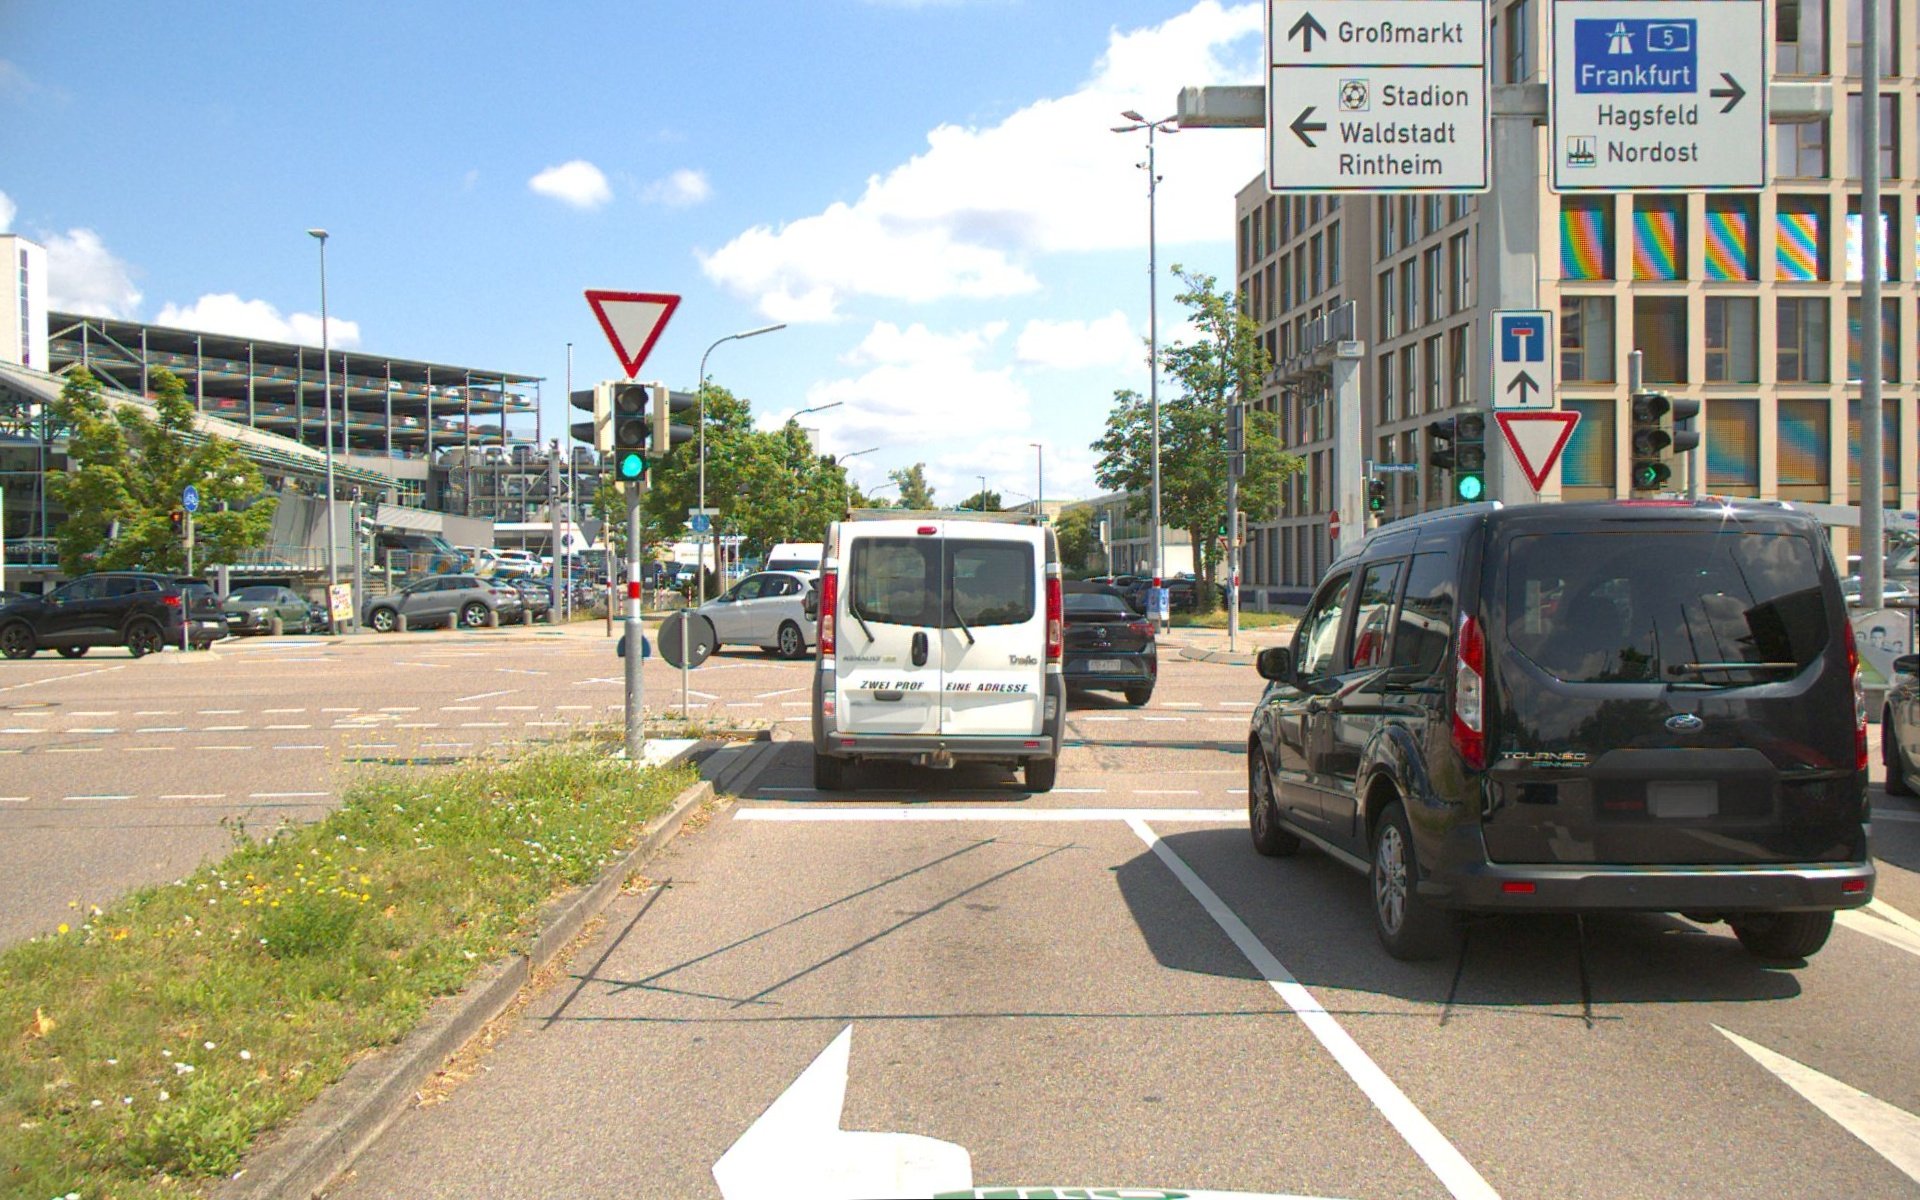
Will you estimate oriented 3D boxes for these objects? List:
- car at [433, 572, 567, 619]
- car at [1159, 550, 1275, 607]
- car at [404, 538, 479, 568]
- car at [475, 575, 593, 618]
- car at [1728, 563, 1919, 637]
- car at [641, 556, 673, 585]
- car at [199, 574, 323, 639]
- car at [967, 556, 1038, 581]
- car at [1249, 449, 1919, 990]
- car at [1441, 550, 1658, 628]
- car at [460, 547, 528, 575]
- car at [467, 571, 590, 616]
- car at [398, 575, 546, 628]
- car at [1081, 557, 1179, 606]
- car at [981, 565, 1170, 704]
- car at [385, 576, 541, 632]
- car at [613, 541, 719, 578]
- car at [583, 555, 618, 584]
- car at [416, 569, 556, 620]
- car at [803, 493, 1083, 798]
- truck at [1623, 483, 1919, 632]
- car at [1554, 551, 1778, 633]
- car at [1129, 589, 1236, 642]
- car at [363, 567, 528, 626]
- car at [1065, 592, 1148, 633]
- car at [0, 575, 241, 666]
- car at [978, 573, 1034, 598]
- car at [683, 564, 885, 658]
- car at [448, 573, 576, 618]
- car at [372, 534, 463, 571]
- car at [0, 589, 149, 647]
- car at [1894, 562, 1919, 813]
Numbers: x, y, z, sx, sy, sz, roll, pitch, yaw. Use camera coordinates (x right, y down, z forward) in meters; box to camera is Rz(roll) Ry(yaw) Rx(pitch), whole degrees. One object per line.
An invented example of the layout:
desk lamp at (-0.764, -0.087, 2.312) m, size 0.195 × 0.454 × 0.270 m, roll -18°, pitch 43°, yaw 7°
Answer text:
car at (-17.092, -0.161, 61.573) m, size 4.485 × 1.707 × 1.905 m, roll 0°, pitch 0°, yaw -4°
car at (9.710, -0.792, 62.621) m, size 3.913 × 2.049 × 1.996 m, roll 1°, pitch 0°, yaw -9°
car at (-29.545, -2.669, 94.395) m, size 3.918 × 1.579 × 1.759 m, roll 1°, pitch 0°, yaw -13°
car at (-17.808, -0.134, 69.265) m, size 4.485 × 1.707 × 1.905 m, roll 1°, pitch 0°, yaw -4°
car at (20.703, 0.004, 39.237) m, size 4.114 × 1.655 × 1.827 m, roll 1°, pitch 0°, yaw -3°
car at (-17.277, -1.672, 94.376) m, size 1.531 × 1.579 × 3.597 m, roll 1°, pitch 0°, yaw -6°
car at (-19.427, 0.185, 46.163) m, size 1.864 × 1.707 × 4.584 m, roll 1°, pitch 0°, yaw -6°
car at (3.854, -2.846, 149.316) m, size 6.214 × 2.049 × 2.571 m, roll 1°, pitch 0°, yaw -3°
car at (2.636, 0.419, 7.941) m, size 1.786 × 1.938 × 4.000 m, roll 0°, pitch 0°, yaw 0°
car at (15.019, -0.258, 42.253) m, size 4.883 × 1.870 × 1.996 m, roll 1°, pitch 0°, yaw -9°
car at (-28.610, -2.387, 101.617) m, size 3.918 × 1.579 × 1.759 m, roll 1°, pitch 0°, yaw -13°
car at (-17.422, -0.255, 66.913) m, size 4.485 × 1.707 × 1.905 m, roll 1°, pitch 0°, yaw -4°
car at (-16.605, 0.058, 56.421) m, size 4.485 × 1.707 × 1.905 m, roll 1°, pitch 0°, yaw -4°
car at (7.474, -0.810, 72.919) m, size 3.913 × 2.049 × 1.996 m, roll 1°, pitch 0°, yaw -9°
car at (1.416, 0.402, 21.836) m, size 1.740 × 1.658 × 3.993 m, roll 0°, pitch 0°, yaw -7°
car at (-15.992, 0.122, 53.417) m, size 4.485 × 1.707 × 1.905 m, roll 1°, pitch 0°, yaw -4°
car at (-18.064, -2.494, 101.910) m, size 6.264 × 2.139 × 1.763 m, roll 1°, pitch 0°, yaw -6°
car at (-20.616, -1.736, 94.879) m, size 1.531 × 1.579 × 3.597 m, roll 1°, pitch 0°, yaw -6°
car at (-16.873, -0.195, 59.064) m, size 4.485 × 1.707 × 1.905 m, roll 1°, pitch 0°, yaw -4°
car at (-0.245, 0.301, 13.713) m, size 1.934 × 2.096 × 4.561 m, roll 0°, pitch 0°, yaw -3°
truck at (22.419, -1.013, 43.003) m, size 9.569 × 3.617 × 2.670 m, roll 1°, pitch 0°, yaw -9°
car at (15.187, -0.162, 35.689) m, size 4.120 × 1.655 × 1.824 m, roll 1°, pitch 0°, yaw -9°
car at (9.025, 0.631, 67.188) m, size 3.913 × 2.049 × 1.996 m, roll 1°, pitch 0°, yaw -9°
car at (-15.722, -0.090, 50.731) m, size 4.485 × 1.707 × 1.905 m, roll 1°, pitch 0°, yaw -4°
car at (7.498, 0.636, 84.858) m, size 3.913 × 2.049 × 1.996 m, roll 1°, pitch 0°, yaw -9°
car at (-16.373, 0.384, 32.009) m, size 4.163 × 1.646 × 1.779 m, roll 1°, pitch 0°, yaw 8°
car at (3.451, -1.081, 124.358) m, size 3.911 × 1.780 × 1.997 m, roll 1°, pitch 0°, yaw -8°
car at (-3.356, 0.195, 31.015) m, size 1.763 × 1.646 × 3.936 m, roll 1°, pitch 0°, yaw -43°
car at (-17.351, -0.164, 64.161) m, size 4.485 × 1.707 × 1.905 m, roll 0°, pitch 0°, yaw -4°
car at (-29.236, -2.557, 89.264) m, size 4.356 × 1.833 × 1.762 m, roll 1°, pitch 0°, yaw -7°
car at (-25.309, 0.508, 45.898) m, size 4.650 × 1.490 × 1.793 m, roll -1°, pitch -2°, yaw -7°
car at (7.034, 0.598, 10.150) m, size 1.822 × 1.684 × 4.217 m, roll 1°, pitch 0°, yaw 24°
